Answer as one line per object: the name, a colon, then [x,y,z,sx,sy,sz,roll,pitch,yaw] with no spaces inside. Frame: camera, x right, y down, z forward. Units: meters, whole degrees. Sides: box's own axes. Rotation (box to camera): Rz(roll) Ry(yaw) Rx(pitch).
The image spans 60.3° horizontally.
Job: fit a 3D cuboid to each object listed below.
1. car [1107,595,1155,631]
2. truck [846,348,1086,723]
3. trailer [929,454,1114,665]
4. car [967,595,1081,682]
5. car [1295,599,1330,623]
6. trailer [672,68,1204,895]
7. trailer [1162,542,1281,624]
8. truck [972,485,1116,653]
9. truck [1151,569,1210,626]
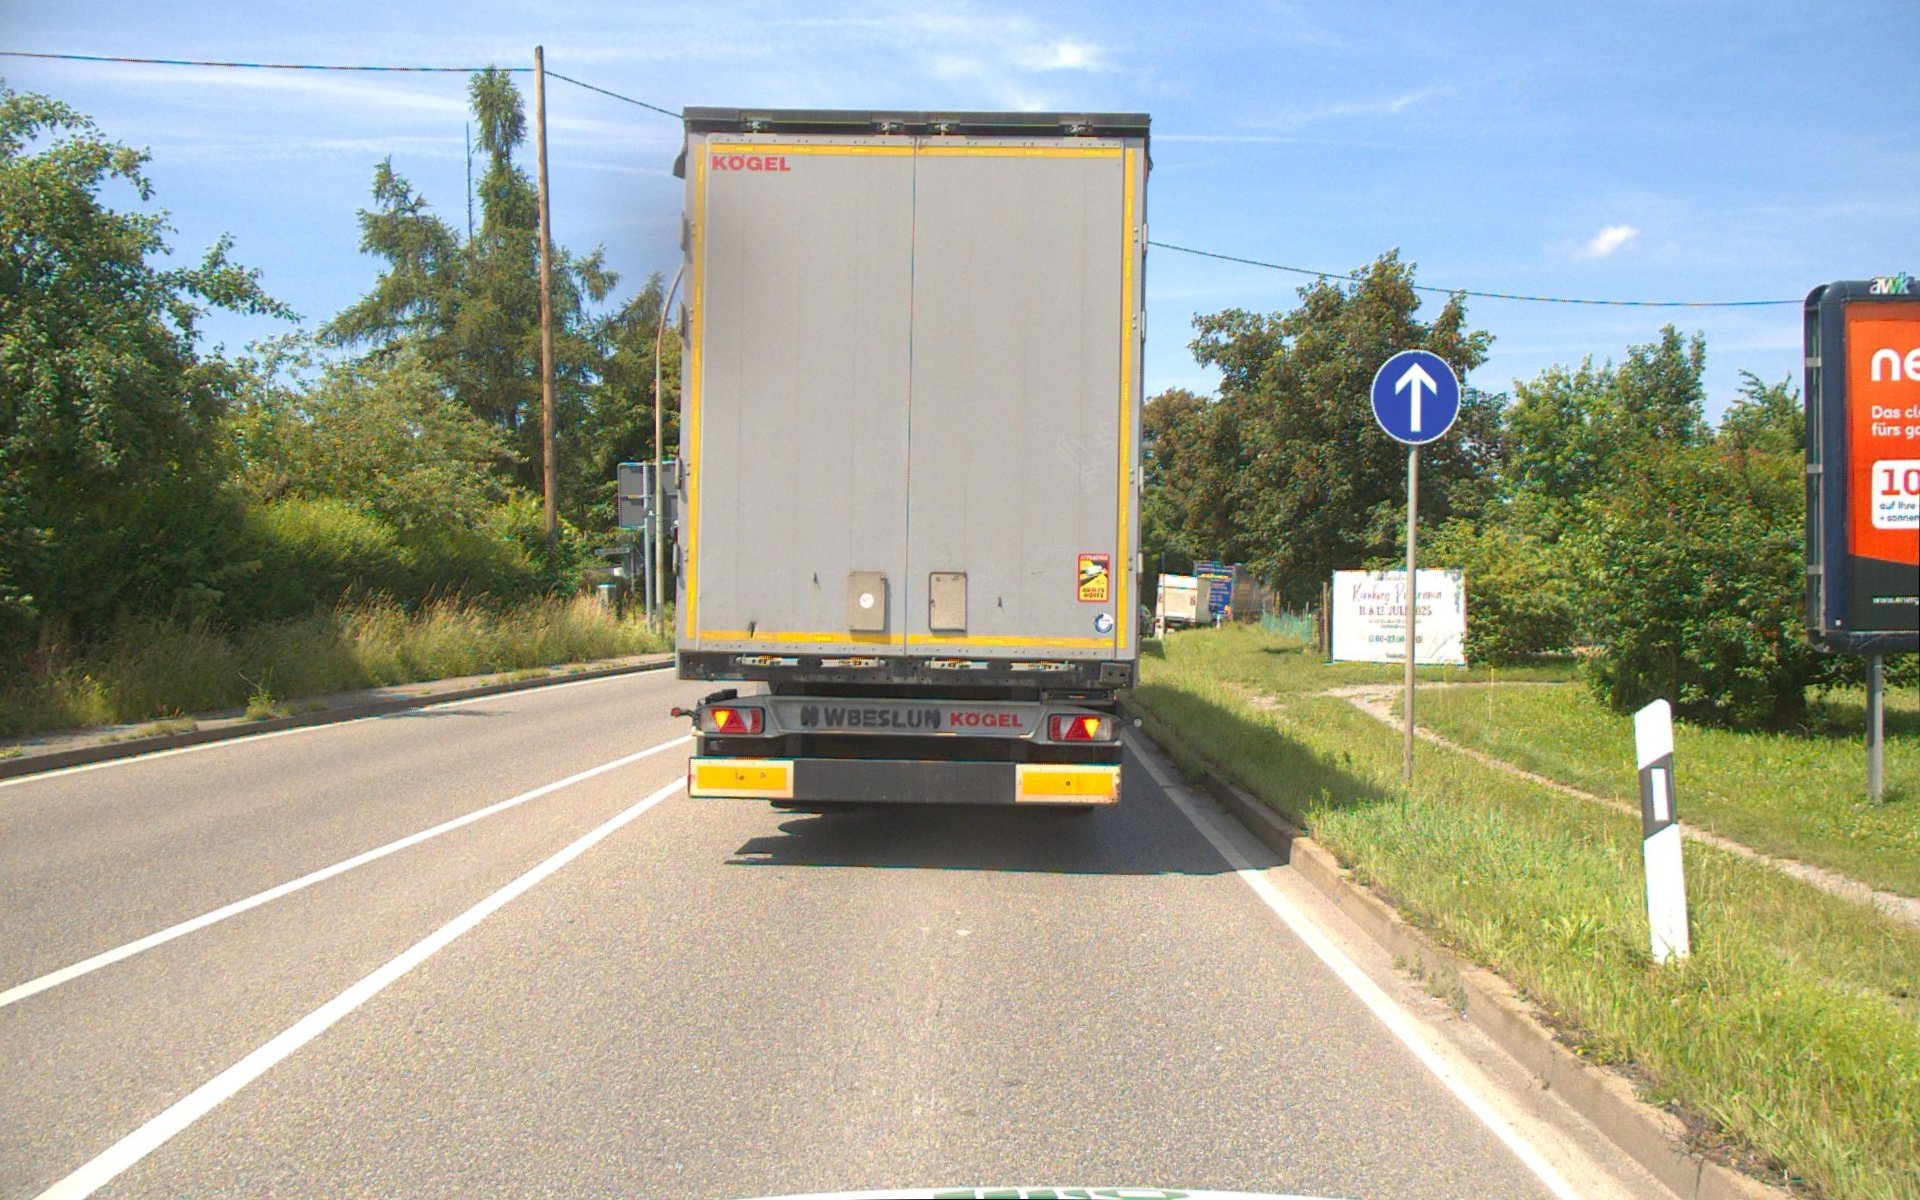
car: [7.673,0.569,74.094,1.802,1.512,4.004,1,1,10]
truck: [0.262,-0.780,21.876,2.688,4.238,6.146,1,1,4]
trailer: [1.924,-0.914,42.543,3.808,4.600,12.722,0,0,6]
car: [1.320,0.700,32.469,1.951,1.556,4.003,1,1,6]
car: [27.015,0.844,126.619,1.953,1.713,4.000,1,1,22]
trailer: [0.051,-0.703,14.673,2.729,4.278,12.114,1,1,2]
trailer: [16.761,-1.099,104.350,5.070,4.709,15.904,1,1,17]
truck: [2.663,-0.876,49.505,3.853,4.654,7.157,0,0,6]
truck: [11.777,-0.161,87.964,2.369,2.888,5.416,0,1,15]
